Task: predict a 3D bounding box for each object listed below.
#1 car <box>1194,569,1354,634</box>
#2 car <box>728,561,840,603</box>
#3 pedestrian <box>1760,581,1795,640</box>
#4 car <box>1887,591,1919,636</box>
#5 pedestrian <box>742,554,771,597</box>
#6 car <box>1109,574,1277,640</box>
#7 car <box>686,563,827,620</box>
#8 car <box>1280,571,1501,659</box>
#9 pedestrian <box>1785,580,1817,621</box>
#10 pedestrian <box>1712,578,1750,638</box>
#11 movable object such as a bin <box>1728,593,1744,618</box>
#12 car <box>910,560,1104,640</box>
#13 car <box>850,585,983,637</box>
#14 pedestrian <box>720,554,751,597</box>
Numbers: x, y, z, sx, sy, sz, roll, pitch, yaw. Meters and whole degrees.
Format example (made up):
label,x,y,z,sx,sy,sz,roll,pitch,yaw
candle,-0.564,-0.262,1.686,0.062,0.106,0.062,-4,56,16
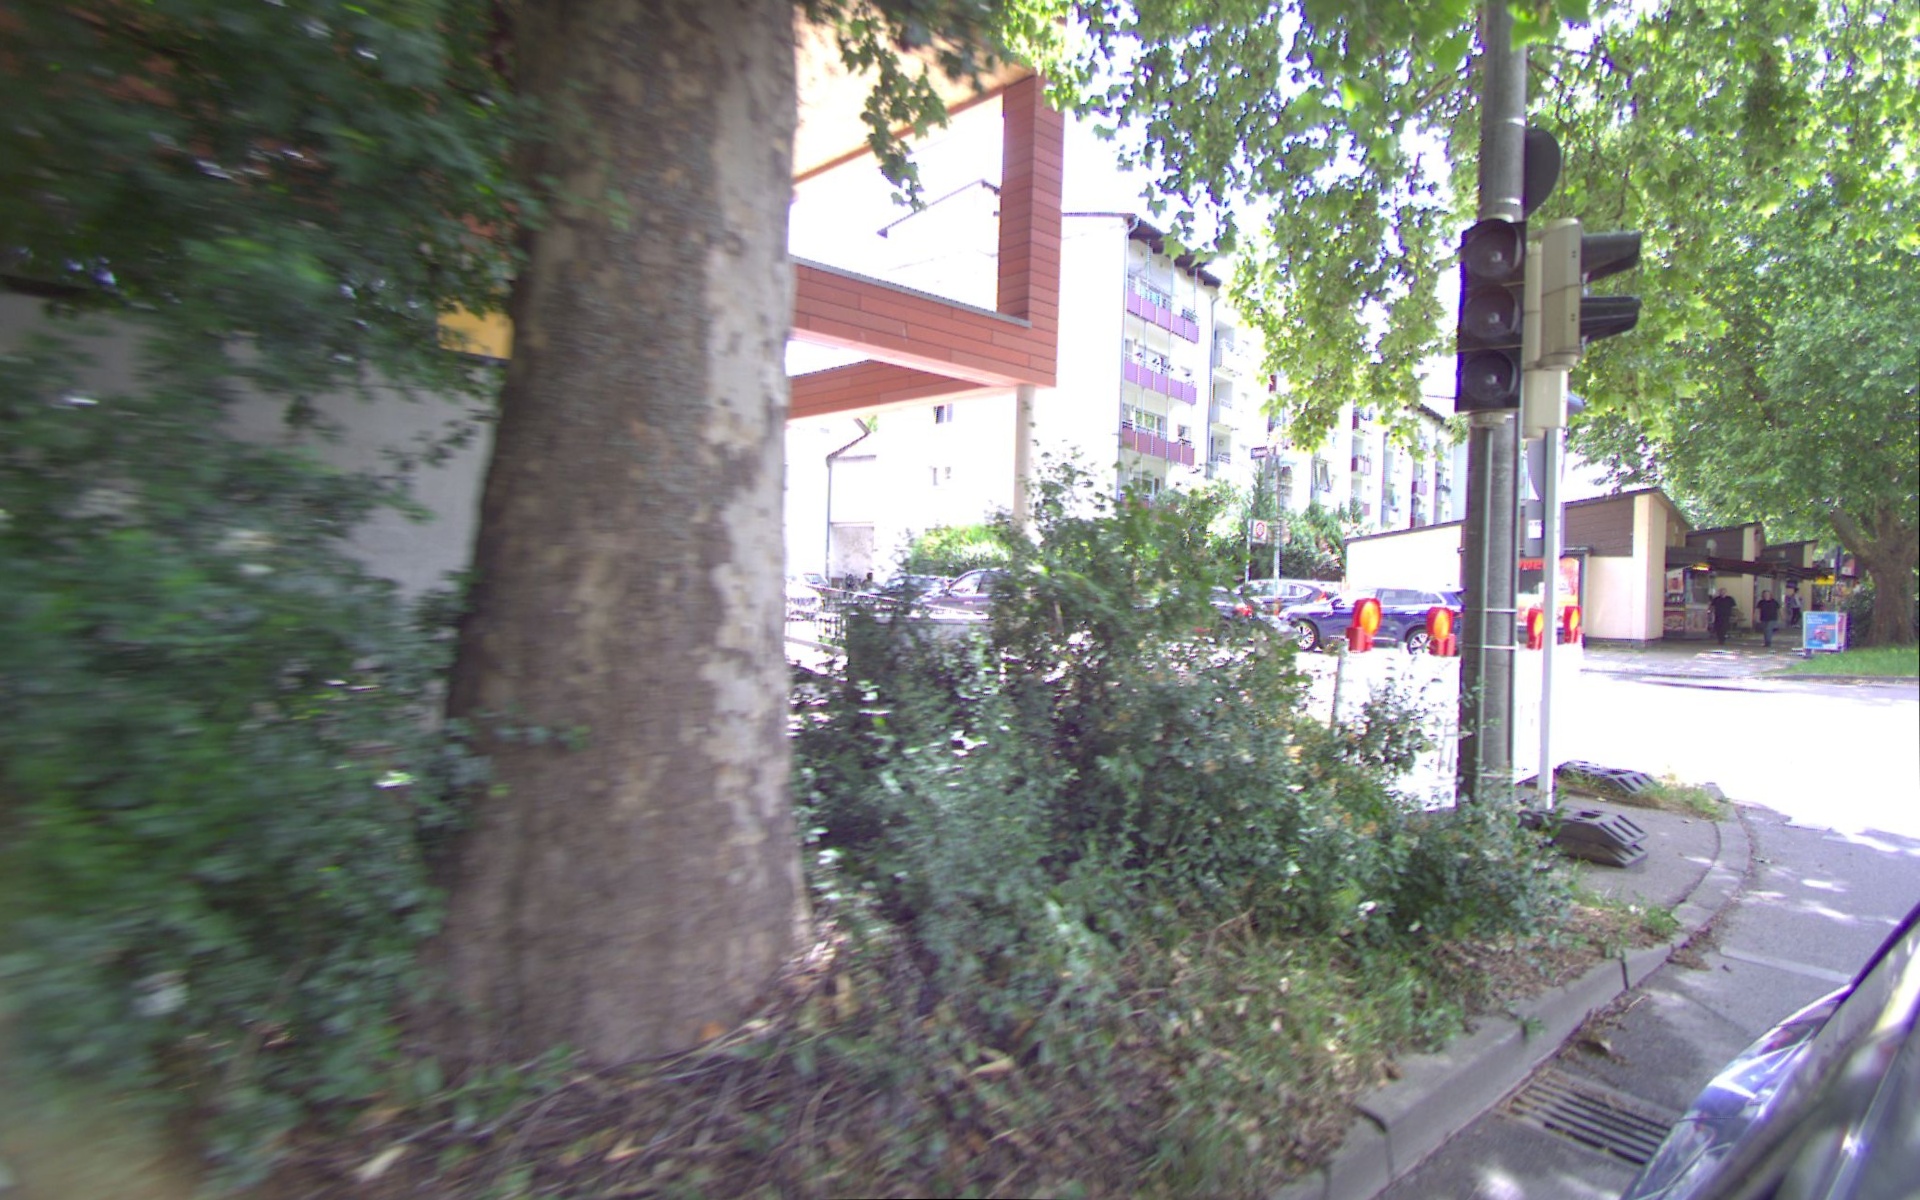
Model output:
label,x,y,z,sx,sy,sz,roll,pitch,yaw
car,9.107,-0.008,29.550,4.090,1.675,1.784,3,2,42
car,-6.486,-0.670,37.170,4.045,1.426,1.930,3,1,41
pedestrian,24.192,0.294,29.947,0.758,1.697,0.625,0,1,-41
car,36.207,0.546,36.651,3.830,1.581,1.595,4,3,43
pedestrian,-8.558,-1.007,42.559,0.949,1.777,0.828,0,0,40
car,5.959,0.146,26.186,3.985,1.461,1.503,3,1,42
car,-5.978,-0.280,29.432,4.227,1.475,1.864,3,2,42
car,9.721,0.273,23.009,4.177,1.703,1.982,3,1,42
pedestrian,38.681,0.008,46.554,0.595,1.823,0.926,1,2,3
pedestrian,23.262,0.223,30.540,0.648,1.746,0.759,0,2,-45
movable object such as a bin,29.552,0.217,38.529,0.436,0.925,0.579,3,2,40
car,1.004,-0.058,23.236,4.227,1.624,1.864,3,2,42
car,-1.431,0.307,32.556,4.104,1.472,1.849,3,1,40
pedestrian,-9.314,-1.014,41.976,0.949,1.777,0.828,0,0,40
